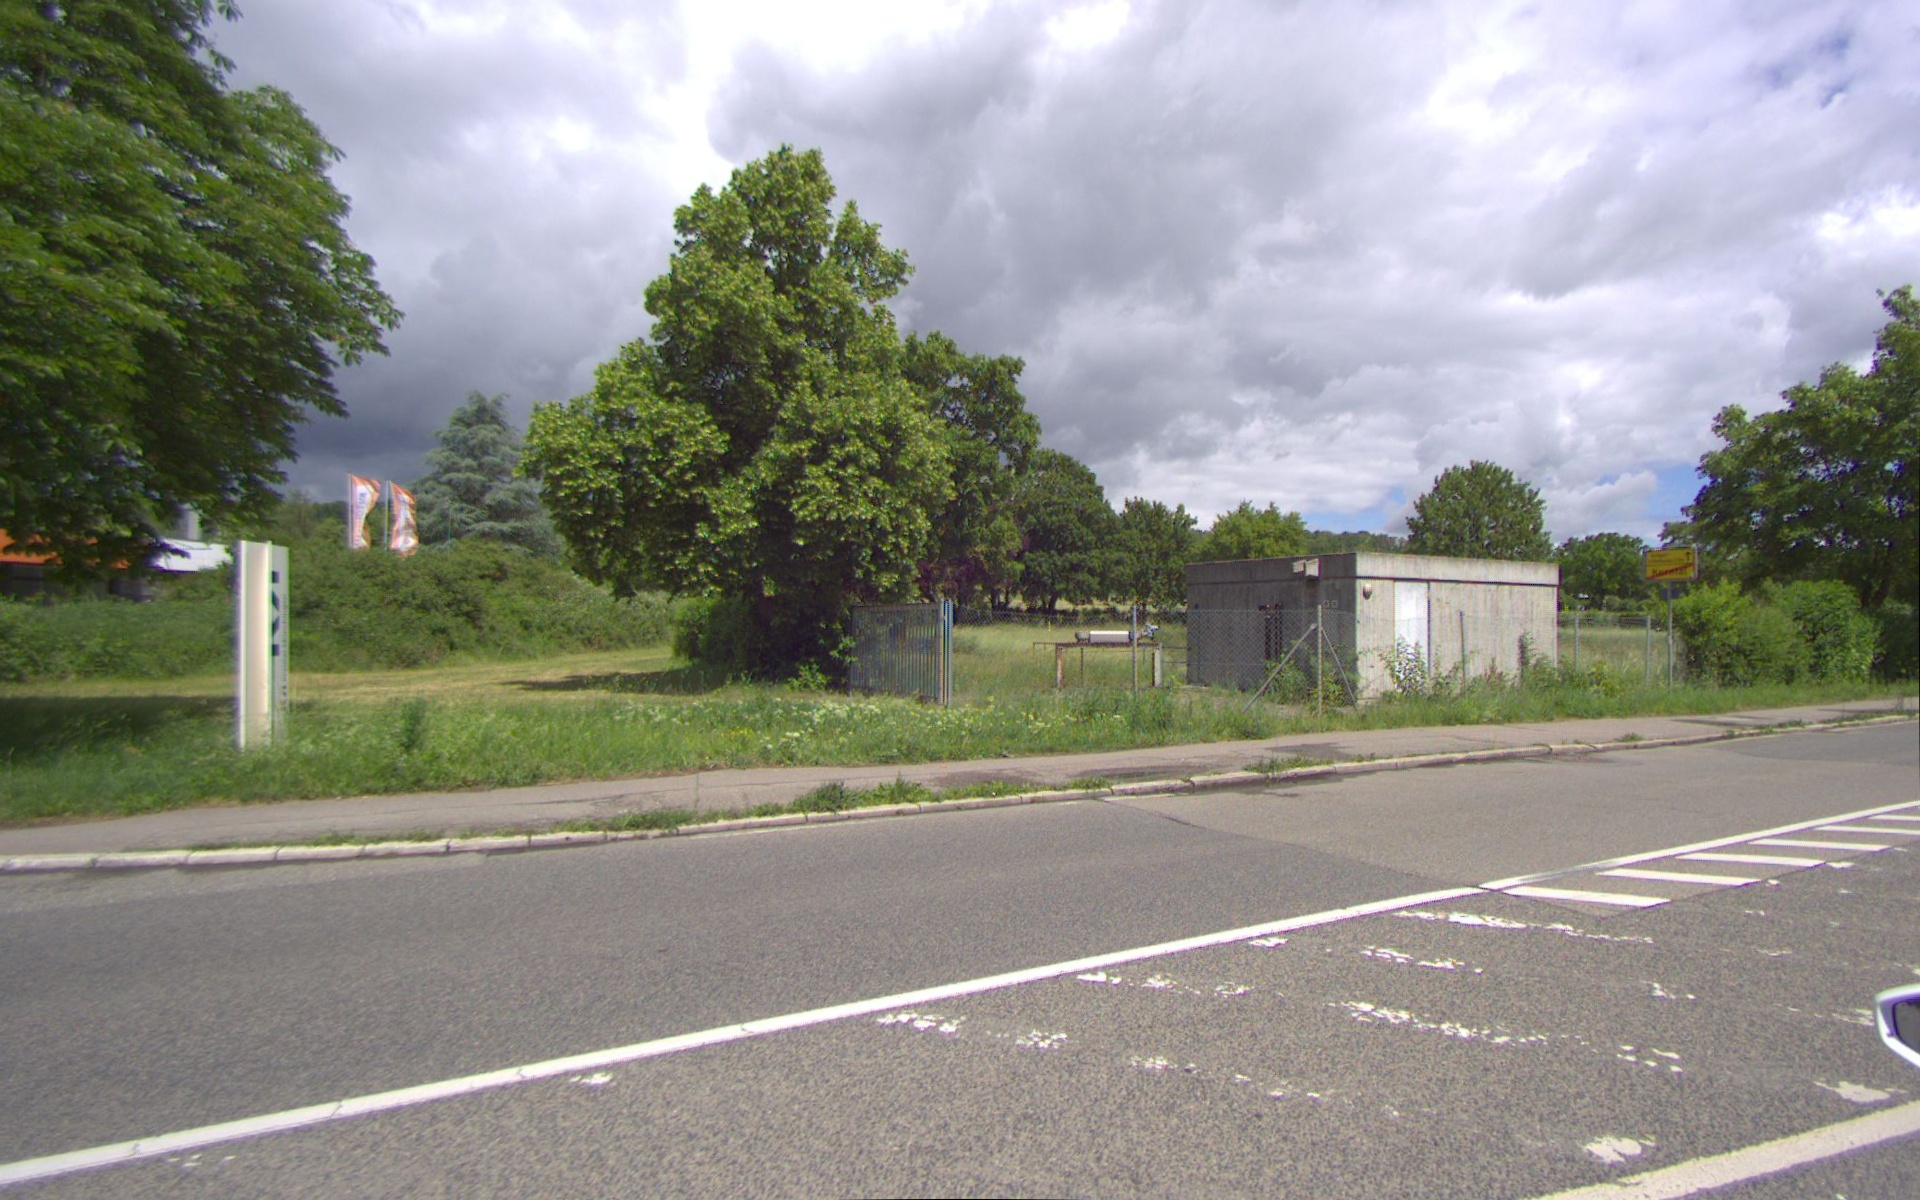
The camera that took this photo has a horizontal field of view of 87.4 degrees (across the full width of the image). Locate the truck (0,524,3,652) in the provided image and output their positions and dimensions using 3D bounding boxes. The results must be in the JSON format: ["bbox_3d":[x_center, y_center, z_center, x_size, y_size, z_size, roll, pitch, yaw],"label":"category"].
[{"bbox_3d":[-25.735,-0.241,20.921,8.429,3.089,2.663,0,-2,-6],"label":"truck"}]
